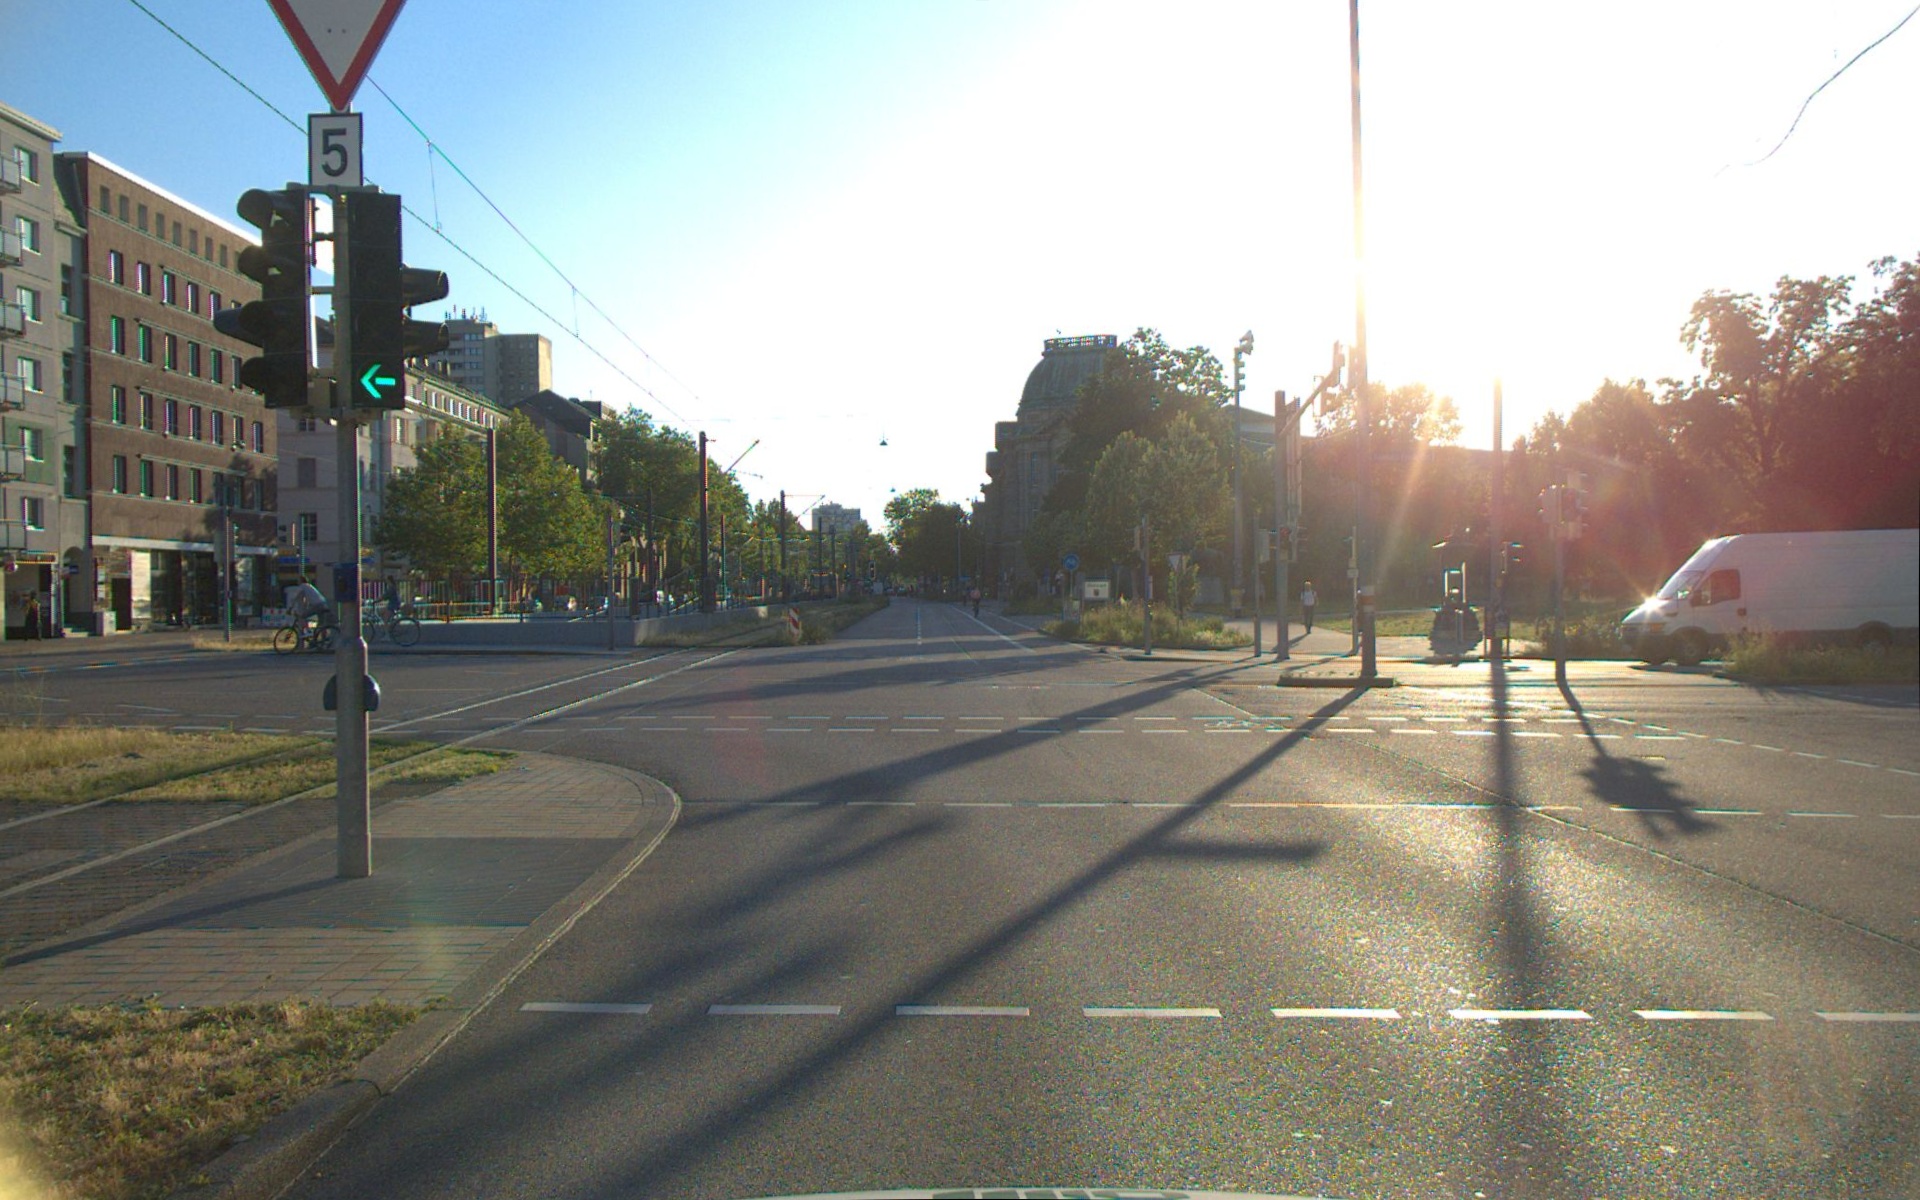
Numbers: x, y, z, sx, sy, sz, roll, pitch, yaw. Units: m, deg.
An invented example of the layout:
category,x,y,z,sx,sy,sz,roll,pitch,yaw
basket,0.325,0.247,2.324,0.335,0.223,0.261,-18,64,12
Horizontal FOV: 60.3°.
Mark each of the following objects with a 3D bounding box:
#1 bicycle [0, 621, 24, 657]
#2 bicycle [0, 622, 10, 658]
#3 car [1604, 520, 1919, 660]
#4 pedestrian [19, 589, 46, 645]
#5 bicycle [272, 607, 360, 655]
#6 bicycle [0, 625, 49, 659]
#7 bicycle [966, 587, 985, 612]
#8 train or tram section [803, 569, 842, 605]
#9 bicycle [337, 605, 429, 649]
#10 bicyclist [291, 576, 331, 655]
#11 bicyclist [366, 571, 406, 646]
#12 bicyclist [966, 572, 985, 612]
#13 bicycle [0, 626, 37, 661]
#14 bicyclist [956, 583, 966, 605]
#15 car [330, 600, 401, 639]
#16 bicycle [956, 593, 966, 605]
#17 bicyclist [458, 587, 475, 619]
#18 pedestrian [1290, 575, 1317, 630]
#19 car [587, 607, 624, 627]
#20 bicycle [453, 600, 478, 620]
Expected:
category,x,y,z,sx,sy,sz,roll,pitch,yaw
bicycle,-32.865,1.336,56.244,1.655,1.199,0.748,-1,0,1
bicycle,-32.894,1.345,55.481,1.655,1.173,0.705,-1,0,1
car,17.777,-0.225,35.780,6.866,2.877,2.093,-1,0,1
pedestrian,-36.934,0.683,65.883,0.589,2.216,0.792,-1,0,-1
bicycle,-15.340,0.729,39.449,1.869,1.094,0.630,-1,0,-14
bicycle,-32.842,1.459,57.752,1.655,1.164,0.697,-1,0,1
bicycle,0.894,-0.030,96.460,1.075,1.423,2.831,-1,0,-1
train or tram section,-15.676,-1.517,188.828,4.301,3.917,11.398,-1,0,-5
bicycle,-14.489,0.680,41.586,2.124,1.102,0.537,0,-1,-10
bicyclist,-15.461,0.363,39.411,0.779,1.850,0.644,-1,0,-14
bicyclist,-14.437,0.216,41.605,0.860,1.850,0.536,-1,0,-11
bicyclist,0.897,-0.456,96.287,1.060,2.316,0.986,0,0,-1
bicycle,-32.871,1.506,57.020,1.655,1.190,0.748,-1,0,1
bicyclist,0.119,-0.533,152.209,0.907,2.049,0.850,0,0,-1
car,-27.463,0.872,76.514,1.654,1.646,4.001,-2,0,2
bicycle,0.118,-0.087,152.232,0.905,1.131,2.332,0,0,-1
bicyclist,-31.865,0.185,106.882,0.780,2.049,0.924,-1,0,1
pedestrian,11.680,0.076,56.237,0.815,1.835,0.811,-1,0,14
car,-27.568,1.318,128.660,1.781,1.445,4.002,-1,0,3
bicycle,-31.884,0.618,106.641,0.796,1.222,2.413,-1,0,2
